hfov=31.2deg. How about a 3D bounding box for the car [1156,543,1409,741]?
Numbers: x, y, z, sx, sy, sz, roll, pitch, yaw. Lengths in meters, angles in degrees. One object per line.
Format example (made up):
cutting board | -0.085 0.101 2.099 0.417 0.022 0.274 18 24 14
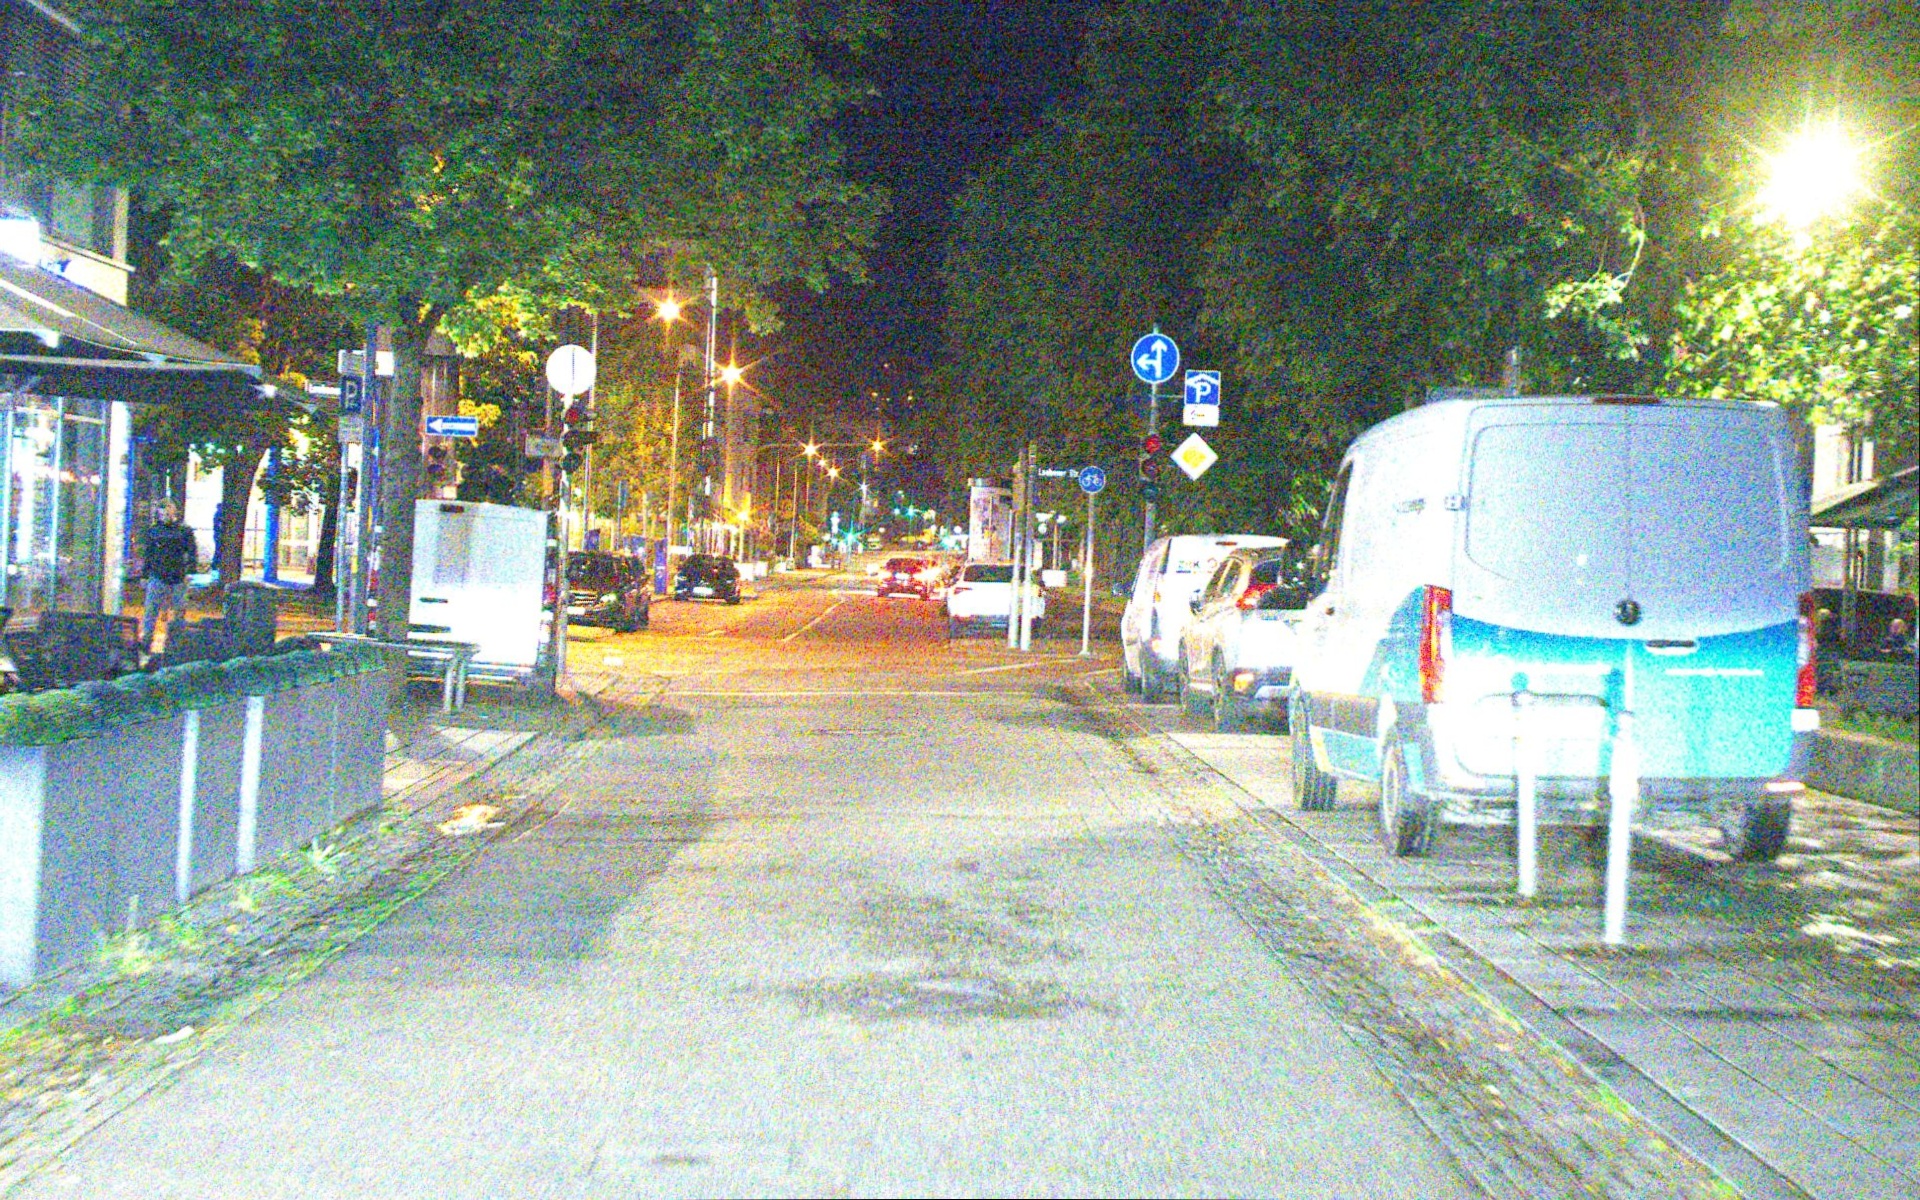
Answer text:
car | 2.893 0.330 31.676 1.684 1.653 4.297 2 1 -3

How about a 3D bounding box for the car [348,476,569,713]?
car | -4.980 -0.094 34.689 1.852 2.080 5.091 4 1 -6

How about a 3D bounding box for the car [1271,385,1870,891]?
car | 3.108 0.144 18.760 2.134 2.318 5.152 2 1 -2

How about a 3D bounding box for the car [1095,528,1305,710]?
car | 2.562 0.161 37.668 1.789 1.816 4.580 2 1 -2
